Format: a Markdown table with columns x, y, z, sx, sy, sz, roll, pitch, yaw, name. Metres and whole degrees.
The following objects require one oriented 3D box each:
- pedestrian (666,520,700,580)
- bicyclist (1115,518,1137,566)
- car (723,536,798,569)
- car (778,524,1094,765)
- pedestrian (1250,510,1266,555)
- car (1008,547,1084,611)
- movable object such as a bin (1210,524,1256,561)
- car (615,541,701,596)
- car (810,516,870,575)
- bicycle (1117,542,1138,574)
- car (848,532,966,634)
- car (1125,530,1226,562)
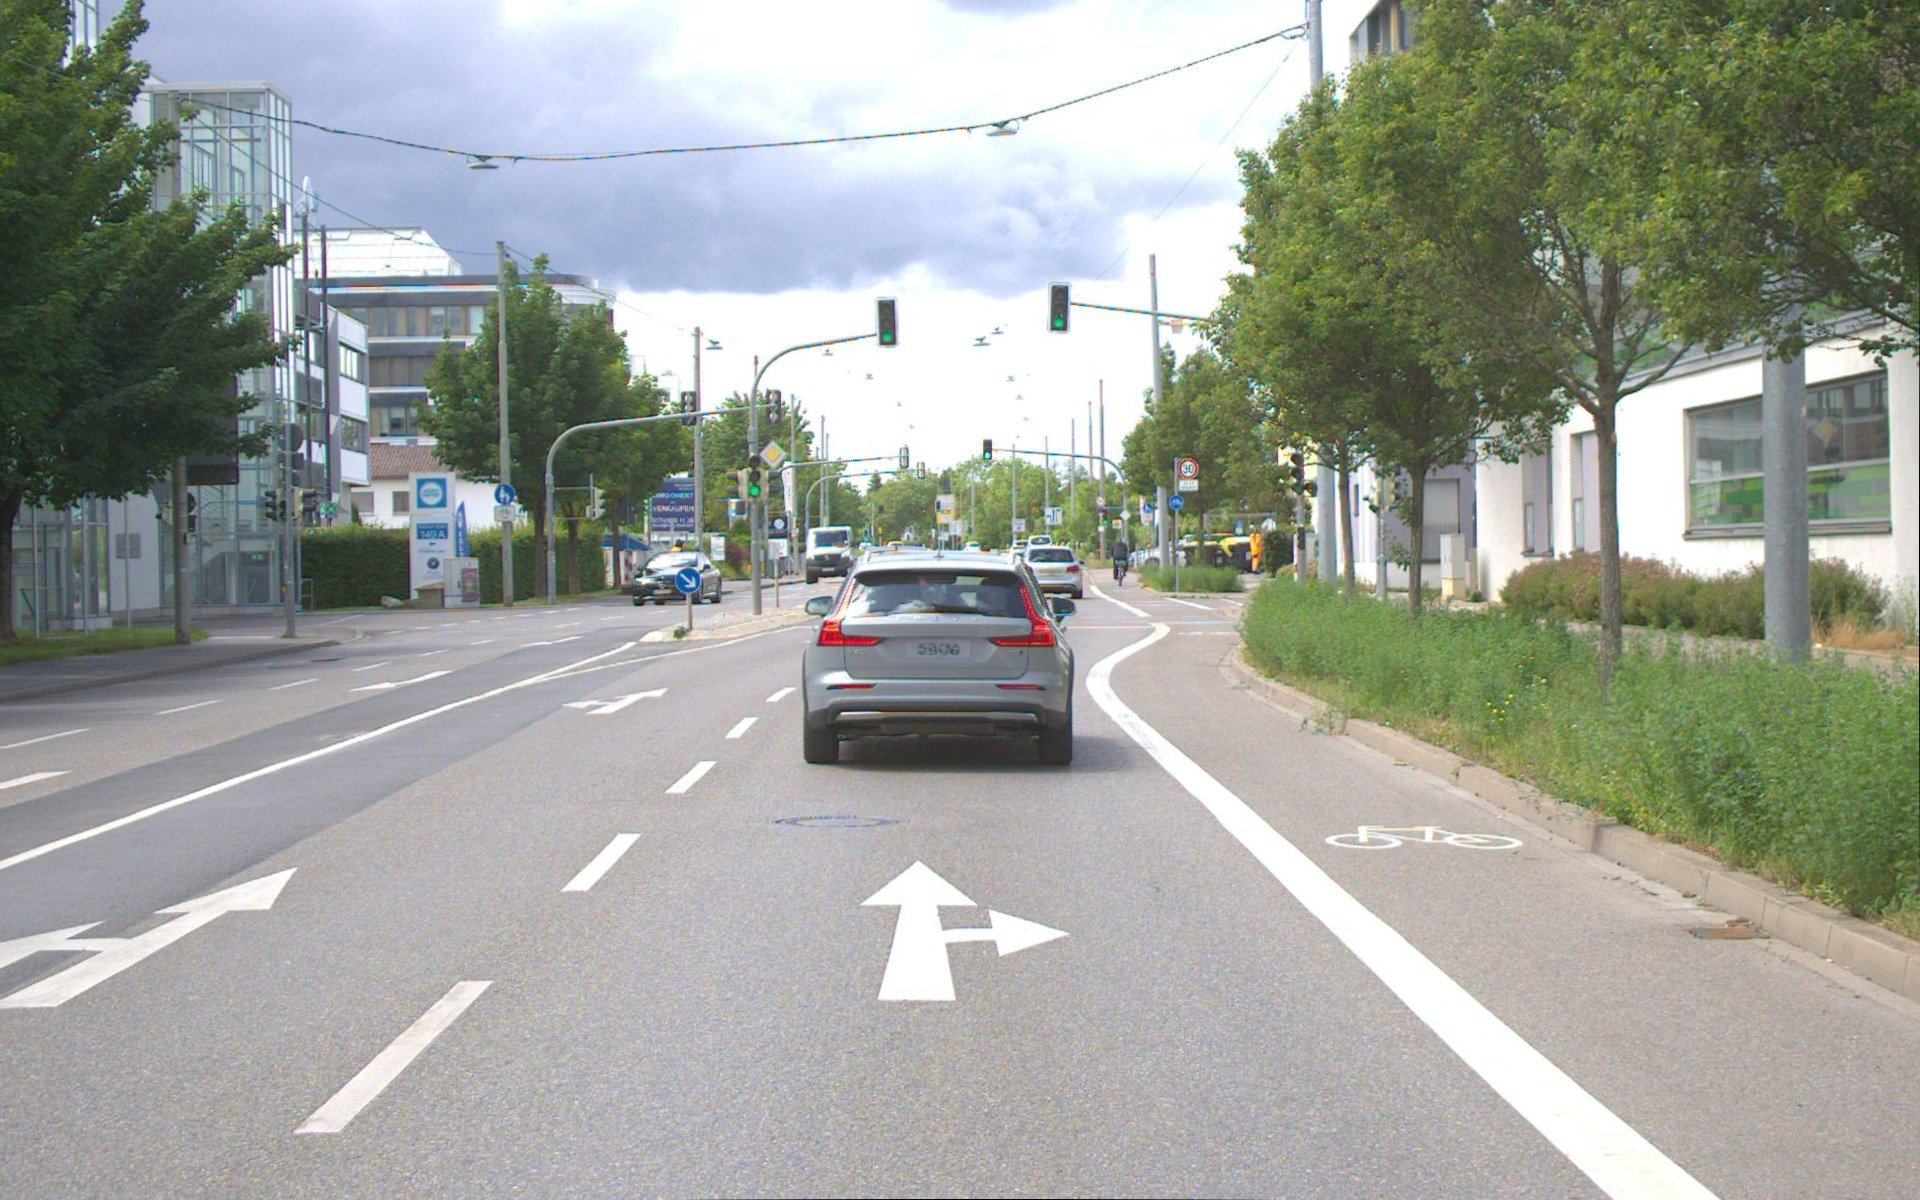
| x | y | z | sx | sy | sz | roll | pitch | yaw | name |
| --- | --- | --- | --- | --- | --- | --- | --- | --- | --- |
| -9.356 | -1.694 | 116.020 | 0.726 | 2.007 | 0.808 | 1 | 0 | 44 | pedestrian |
| 5.863 | -2.044 | 121.264 | 0.638 | 1.670 | 0.890 | -4 | 1 | 1 | bicyclist |
| -11.394 | -2.707 | 196.230 | 4.092 | 1.393 | 1.909 | -6 | 2 | -6 | car |
| -0.083 | 0.286 | 24.711 | 1.896 | 1.549 | 3.999 | 1 | 0 | 5 | car |
| 11.591 | -2.630 | 133.759 | 0.507 | 1.759 | 0.500 | 1 | 0 | 18 | pedestrian |
| 2.356 | -0.576 | 95.479 | 1.993 | 1.689 | 4.000 | 1 | 0 | 0 | car |
| 10.752 | -2.254 | 135.517 | 1.322 | 1.430 | 1.248 | -1 | 0 | 38 | movable object such as a bin |
| -8.527 | -0.887 | 97.514 | 2.024 | 1.440 | 5.050 | -3 | 1 | -1 | car |
| -5.269 | -2.413 | 151.250 | 2.143 | 2.463 | 6.073 | -2 | 1 | 2 | car |
| 5.899 | -1.474 | 121.083 | 0.638 | 1.059 | 1.977 | -4 | 1 | 1 | bicycle |
| -0.960 | -0.306 | 61.155 | 1.993 | 1.711 | 4.000 | 1 | 0 | -1 | car |
| 10.299 | -2.611 | 164.506 | 4.696 | 1.488 | 2.046 | 0 | 1 | 1 | car |
